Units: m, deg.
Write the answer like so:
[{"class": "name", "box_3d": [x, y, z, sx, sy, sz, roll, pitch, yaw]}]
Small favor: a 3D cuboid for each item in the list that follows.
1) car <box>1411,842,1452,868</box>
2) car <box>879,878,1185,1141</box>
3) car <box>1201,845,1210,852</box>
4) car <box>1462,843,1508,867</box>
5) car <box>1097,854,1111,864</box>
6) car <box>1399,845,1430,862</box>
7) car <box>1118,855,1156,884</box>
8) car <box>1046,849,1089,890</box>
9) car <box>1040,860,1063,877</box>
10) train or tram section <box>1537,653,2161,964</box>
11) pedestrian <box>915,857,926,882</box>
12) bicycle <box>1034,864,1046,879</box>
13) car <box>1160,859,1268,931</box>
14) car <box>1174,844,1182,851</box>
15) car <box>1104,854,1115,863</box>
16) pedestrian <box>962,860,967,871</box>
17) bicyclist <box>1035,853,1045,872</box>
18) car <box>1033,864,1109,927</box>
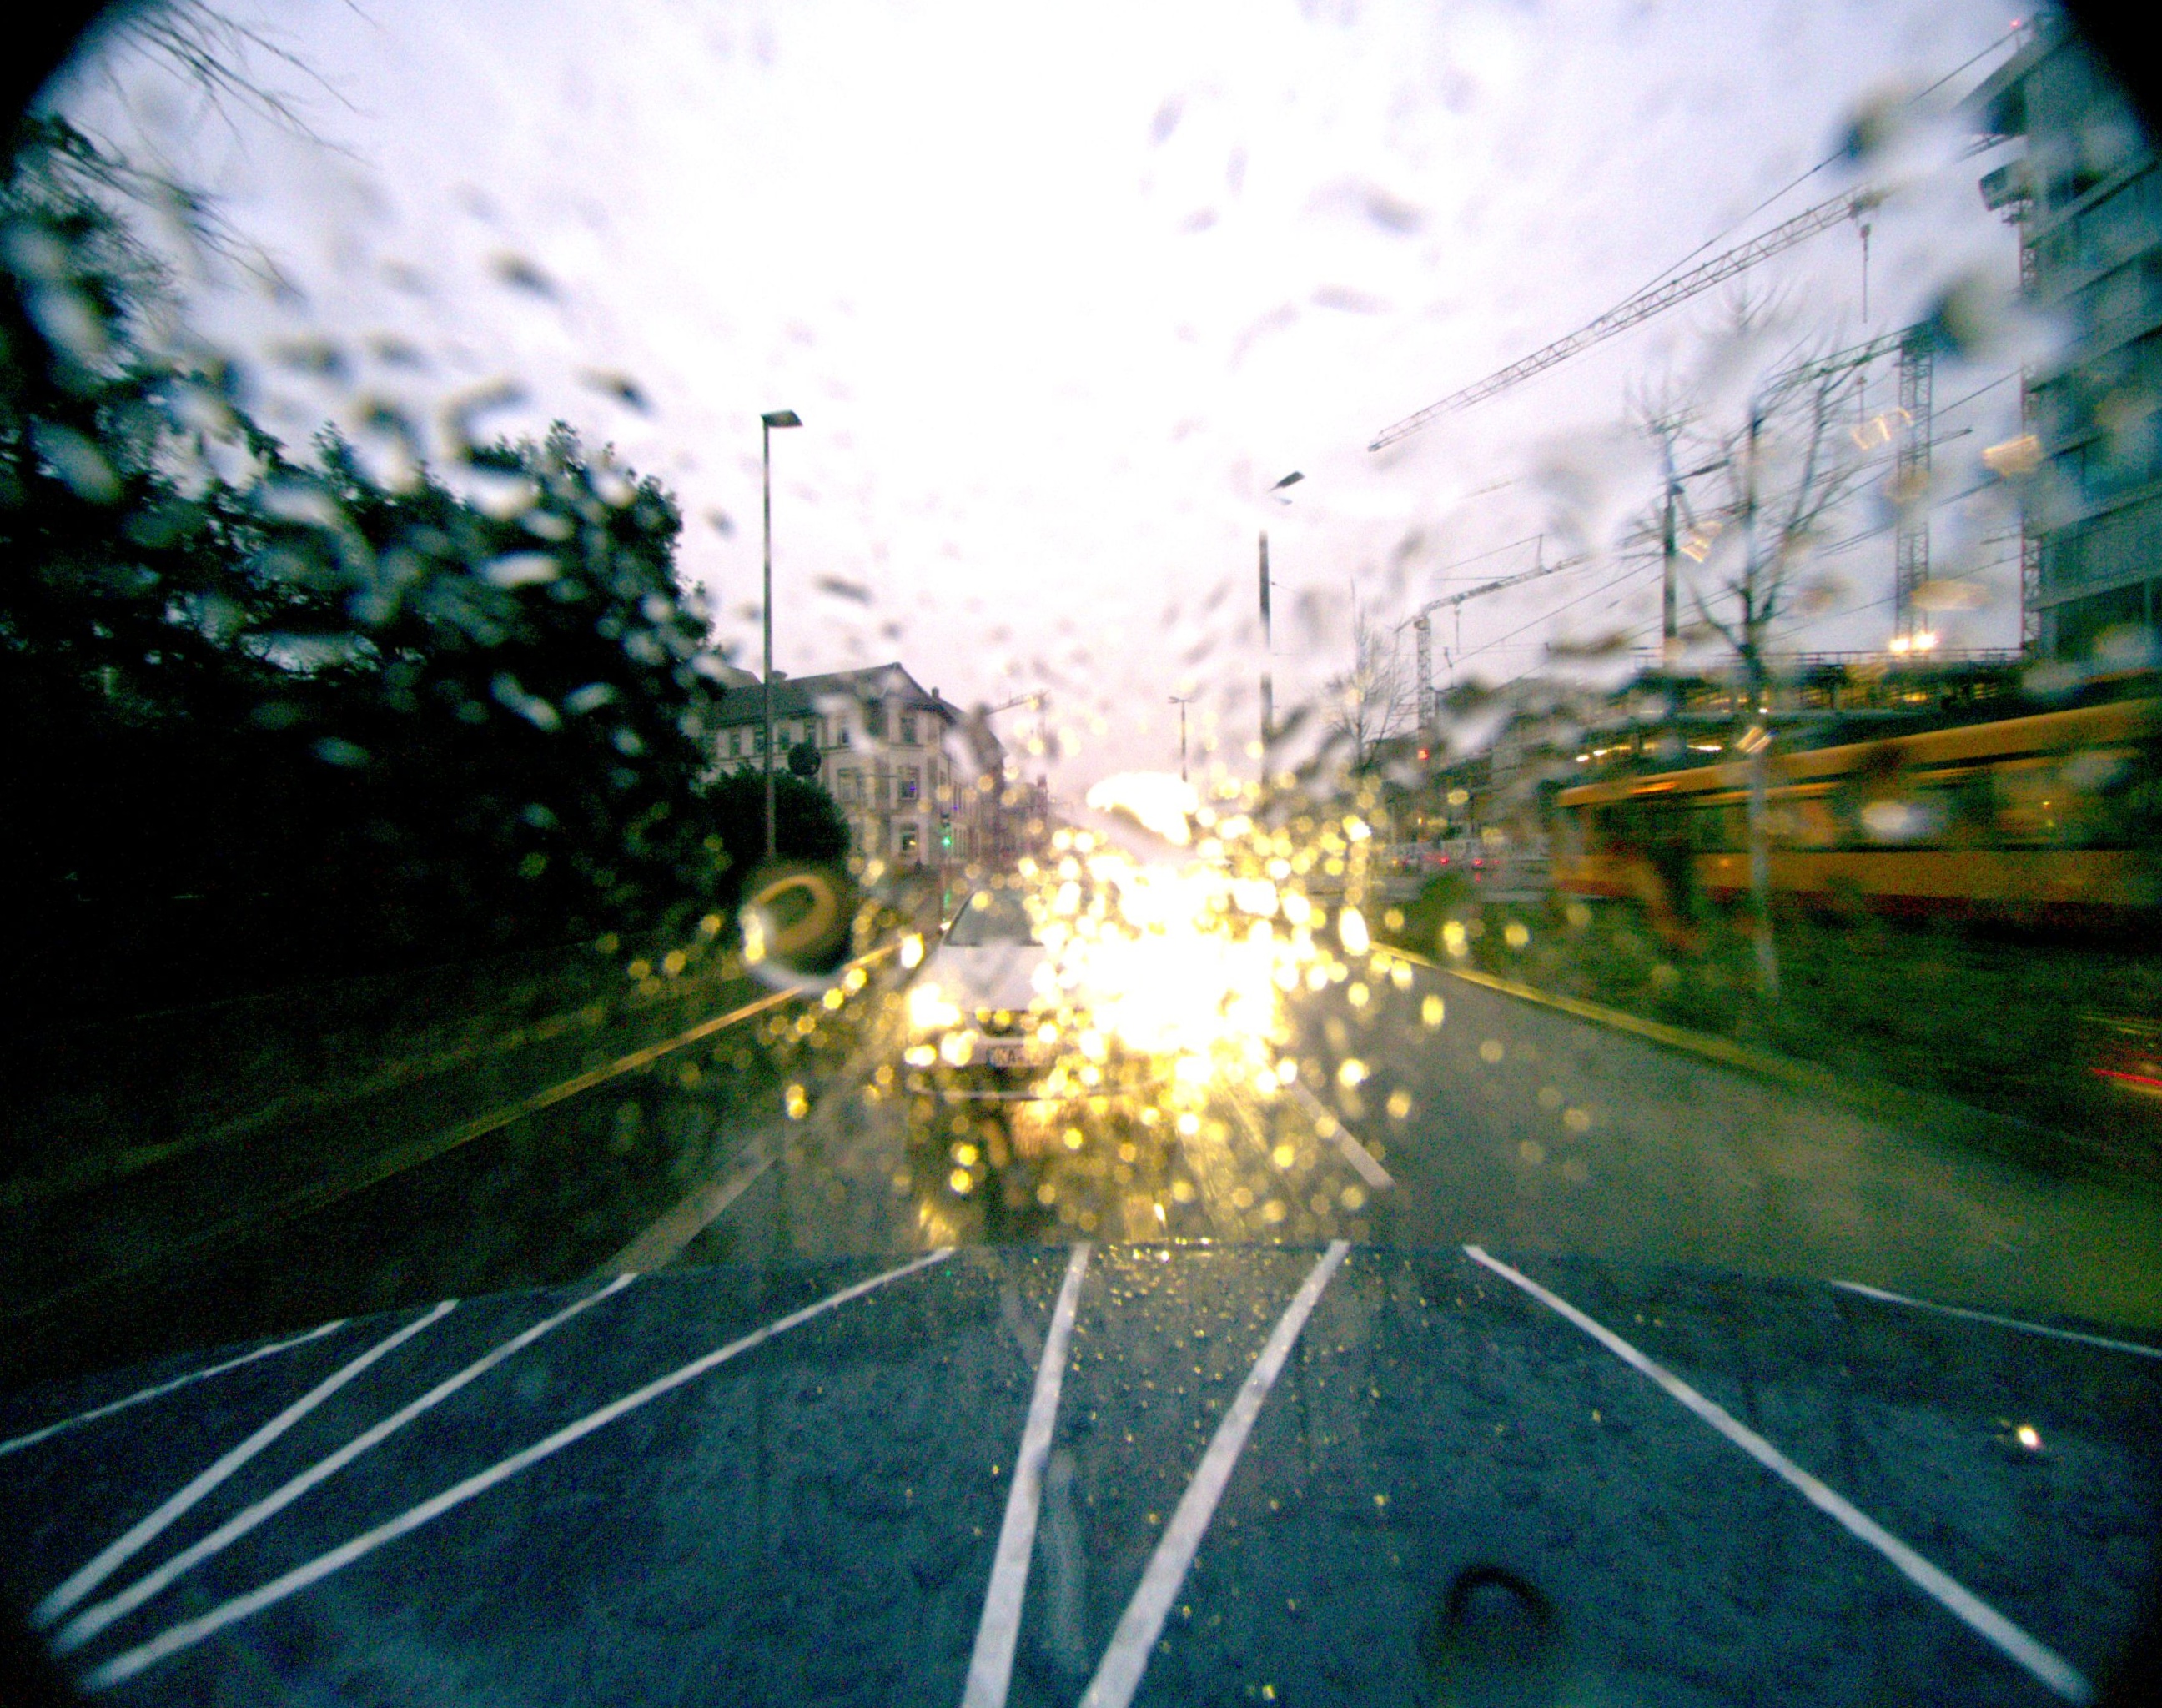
[{"class": "car", "box_3d": [28.674, 0.097, 62.273, 1.997, 2.002, 4.002, -1, 0, 8]}, {"class": "car", "box_3d": [-0.283, 1.006, 6.584, 1.798, 1.363, 3.981, -2, 1, 0]}, {"class": "car", "box_3d": [34.764, -1.522, 212.686, 1.998, 1.812, 4.001, -1, 0, 4]}, {"class": "car", "box_3d": [32.200, 0.077, 60.704, 1.997, 1.838, 4.002, -1, 0, 8]}, {"class": "car", "box_3d": [3.436, 0.750, 114.147, 1.766, 1.363, 3.982, -2, 1, 5]}, {"class": "car", "box_3d": [35.042, -0.036, 79.866, 1.911, 1.733, 4.002, -1, 0, 8]}, {"class": "car", "box_3d": [2.883, 0.769, 39.829, 1.767, 1.363, 3.981, -2, 1, 2]}, {"class": "car", "box_3d": [-0.579, 0.649, 34.556, 1.781, 1.666, 3.981, -2, 1, 0]}, {"class": "car", "box_3d": [-2.653, 1.313, 69.471, 1.875, 1.403, 4.000, -1, 0, 0]}, {"class": "train or tram section", "box_3d": [13.718, -0.534, 13.577, 2.964, 3.466, 14.319, -1, 0, 2]}, {"class": "pedestrian", "box_3d": [-9.993, 0.950, 47.332, 0.522, 1.501, 0.586, -1, 1, -27]}, {"class": "bicycle", "box_3d": [-2.925, 1.251, 54.387, 0.647, 0.961, 2.046, -1, 0, 1]}, {"class": "car", "box_3d": [3.106, 0.902, 18.681, 1.851, 1.397, 4.613, -2, 1, 0]}, {"class": "car", "box_3d": [30.798, -1.998, 240.396, 1.998, 2.002, 4.000, -1, 0, 1]}, {"class": "car", "box_3d": [4.869, 0.709, 128.224, 1.767, 1.363, 3.982, -2, 1, 3]}, {"class": "pedestrian", "box_3d": [-9.906, 0.956, 64.703, 0.326, 0.901, 0.377, -1, 1, 0]}, {"class": "bicyclist", "box_3d": [-2.920, 0.618, 54.634, 0.647, 1.381, 0.890, -1, 1, 1]}, {"class": "car", "box_3d": [-0.217, 0.997, 19.683, 1.728, 1.318, 3.981, -2, 1, 0]}]
